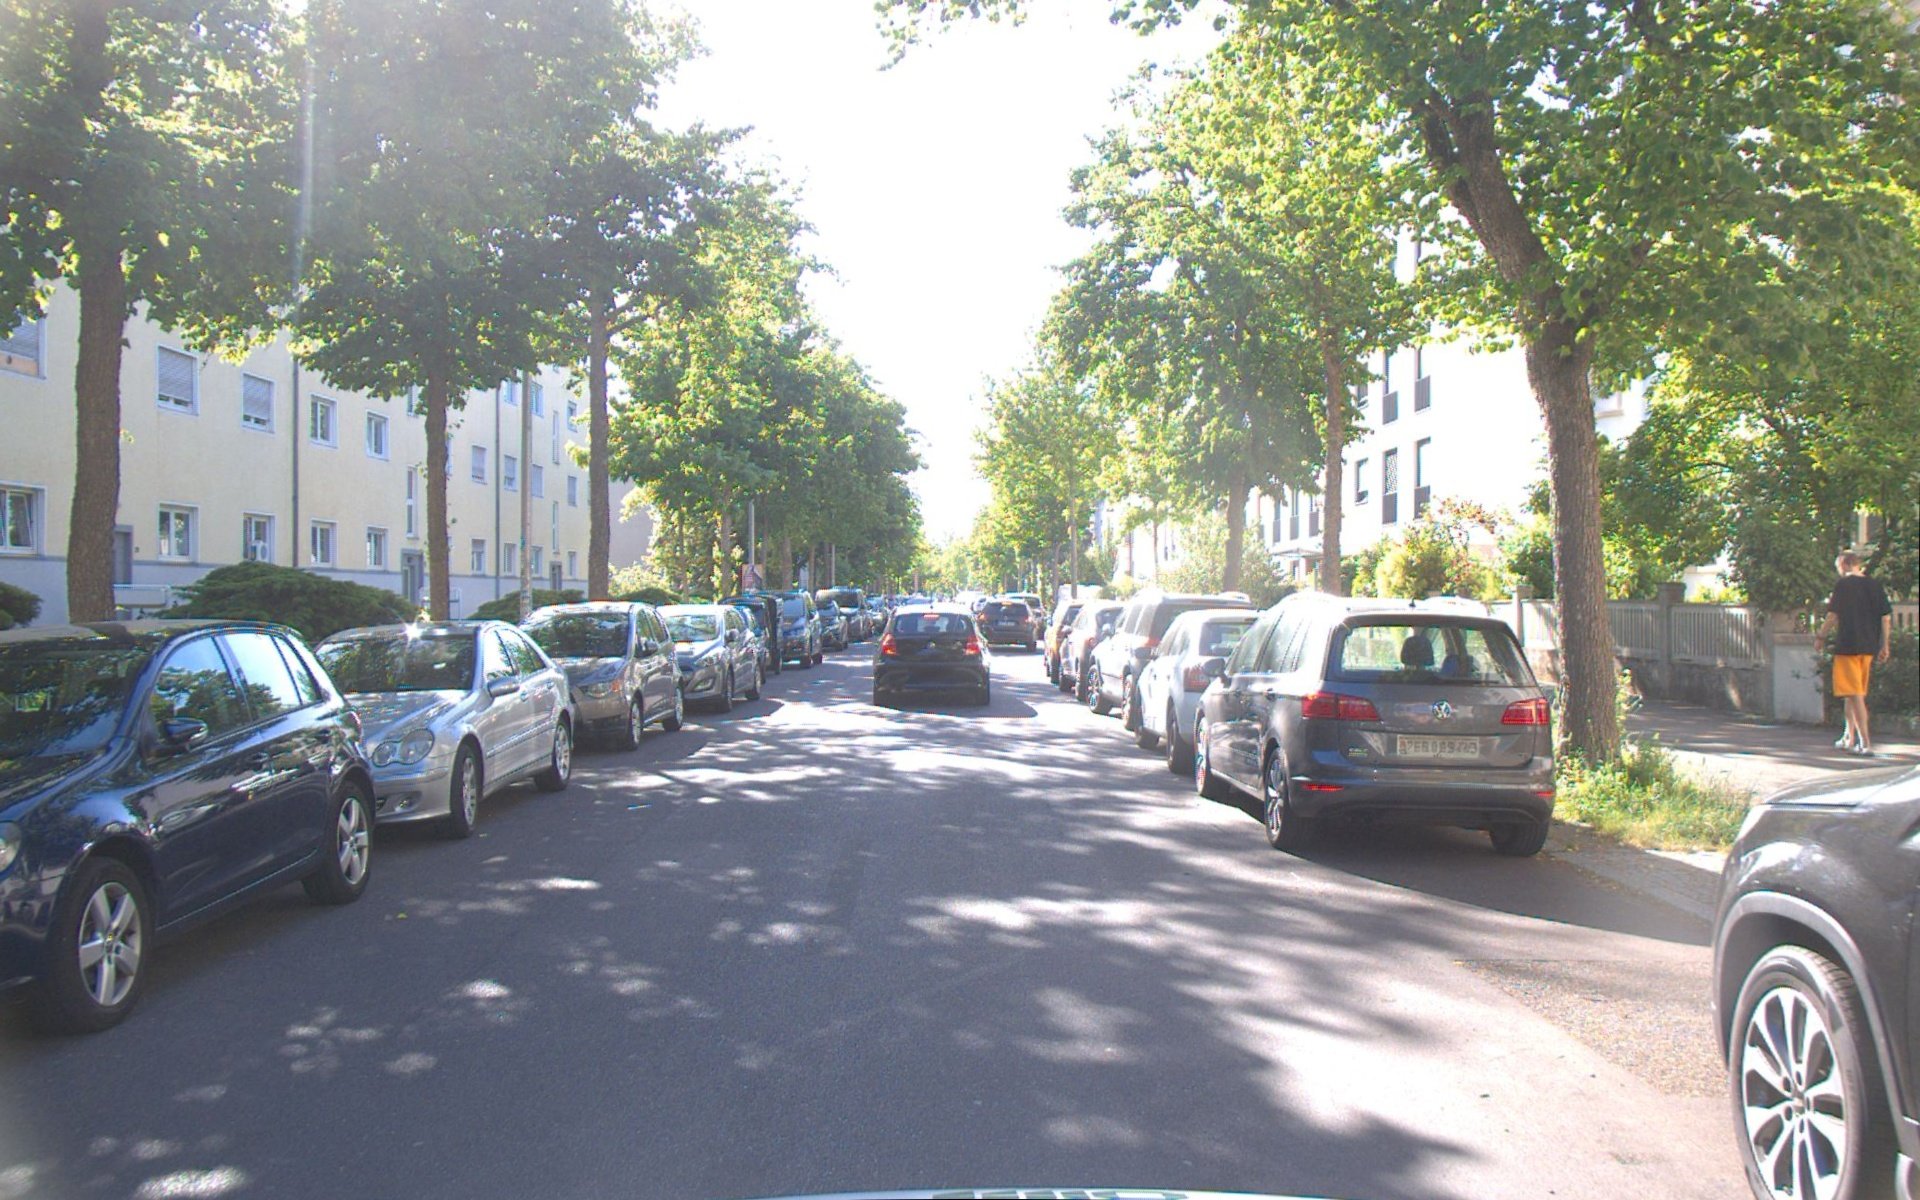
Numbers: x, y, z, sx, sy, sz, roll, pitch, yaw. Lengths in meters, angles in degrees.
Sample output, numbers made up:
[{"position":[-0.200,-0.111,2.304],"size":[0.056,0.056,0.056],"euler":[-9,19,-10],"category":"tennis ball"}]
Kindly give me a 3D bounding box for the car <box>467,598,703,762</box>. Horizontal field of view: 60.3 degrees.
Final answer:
[{"position":[-4.059,0.792,18.571],"size":[1.587,1.542,4.269],"euler":[-3,0,0],"category":"car"}]

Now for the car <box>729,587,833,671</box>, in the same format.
[{"position":[-4.002,0.605,37.687],"size":[1.812,1.710,4.976],"euler":[-3,0,-1],"category":"car"}]

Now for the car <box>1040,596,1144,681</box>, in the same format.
[{"position":[2.437,0.673,31.360],"size":[1.603,1.480,4.099],"euler":[-1,0,-1],"category":"car"}]

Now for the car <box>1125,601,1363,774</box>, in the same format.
[{"position":[2.683,0.758,16.537],"size":[1.596,1.450,4.368],"euler":[-1,0,0],"category":"car"}]

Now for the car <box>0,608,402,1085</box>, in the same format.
[{"position":[-3.896,0.806,7.158],"size":[1.631,1.484,3.932],"euler":[0,0,0],"category":"car"}]

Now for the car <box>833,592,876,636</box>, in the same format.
[{"position":[-4.175,0.545,65.780],"size":[1.580,1.639,4.227],"euler":[-1,0,-3],"category":"car"}]

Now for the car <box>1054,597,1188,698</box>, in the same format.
[{"position":[2.487,0.702,26.298],"size":[1.616,1.453,3.611],"euler":[-1,0,-2],"category":"car"}]

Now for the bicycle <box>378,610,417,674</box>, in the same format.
[{"position":[-10.179,0.746,29.900],"size":[0.479,1.100,1.831],"euler":[2,-1,-24],"category":"bicycle"}]

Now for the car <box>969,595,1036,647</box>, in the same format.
[{"position":[1.212,0.589,48.835],"size":[1.617,1.450,3.998],"euler":[-1,0,-4],"category":"car"}]

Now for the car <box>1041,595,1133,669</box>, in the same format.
[{"position":[2.701,0.652,35.928],"size":[1.665,1.474,4.082],"euler":[-1,0,0],"category":"car"}]

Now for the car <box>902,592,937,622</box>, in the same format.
[{"position":[-2.025,0.352,83.016],"size":[1.474,1.451,3.179],"euler":[0,0,3],"category":"car"}]

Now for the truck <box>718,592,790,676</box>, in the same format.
[{"position":[-4.088,0.650,33.056],"size":[1.061,1.605,2.432],"euler":[-1,0,2],"category":"truck"}]

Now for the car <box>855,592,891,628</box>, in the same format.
[{"position":[-4.285,0.480,81.622],"size":[1.579,1.708,4.233],"euler":[-1,0,-1],"category":"car"}]

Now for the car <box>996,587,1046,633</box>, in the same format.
[{"position":[2.307,0.382,63.308],"size":[1.810,1.659,4.411],"euler":[1,0,1],"category":"car"}]

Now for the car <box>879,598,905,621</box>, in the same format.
[{"position":[-4.459,0.611,108.302],"size":[1.579,1.416,3.865],"euler":[-1,0,-1],"category":"car"}]

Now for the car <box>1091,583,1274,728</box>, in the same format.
[{"position":[2.748,0.641,21.182],"size":[1.616,1.684,3.844],"euler":[0,0,-3],"category":"car"}]

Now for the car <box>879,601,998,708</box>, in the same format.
[{"position":[-0.322,0.755,24.578],"size":[1.616,1.421,3.411],"euler":[-1,0,-1],"category":"car"}]

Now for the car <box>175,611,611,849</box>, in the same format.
[{"position":[-4.024,0.825,12.634],"size":[1.710,1.392,4.674],"euler":[-1,0,0],"category":"car"}]

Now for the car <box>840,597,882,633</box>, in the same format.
[{"position":[-4.237,0.633,71.087],"size":[1.579,1.452,4.057],"euler":[-1,0,-1],"category":"car"}]

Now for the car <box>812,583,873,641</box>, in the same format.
[{"position":[-4.219,0.406,60.072],"size":[1.789,1.938,5.142],"euler":[-2,0,0],"category":"car"}]

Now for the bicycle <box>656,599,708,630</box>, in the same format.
[{"position":[-11.545,0.597,68.644],"size":[2.107,1.230,0.688],"euler":[-1,0,-12],"category":"bicycle"}]

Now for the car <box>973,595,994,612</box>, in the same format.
[{"position":[2.027,0.292,144.640],"size":[1.685,1.506,3.852],"euler":[-1,0,3],"category":"car"}]

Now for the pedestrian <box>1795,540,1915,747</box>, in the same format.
[{"position":[8.062,0.381,14.918],"size":[0.609,1.806,0.799],"euler":[-1,0,-1],"category":"pedestrian"}]

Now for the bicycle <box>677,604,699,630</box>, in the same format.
[{"position":[-10.810,0.680,65.780],"size":[0.582,1.009,1.928],"euler":[-1,0,0],"category":"bicycle"}]

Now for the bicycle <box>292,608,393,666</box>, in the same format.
[{"position":[-12.146,0.722,32.555],"size":[1.803,1.100,0.486],"euler":[-1,0,-4],"category":"bicycle"}]

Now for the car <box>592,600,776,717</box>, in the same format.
[{"position":[-3.905,0.774,24.188],"size":[1.755,1.469,4.689],"euler":[-2,0,1],"category":"car"}]

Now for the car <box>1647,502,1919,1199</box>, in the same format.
[{"position":[2.911,0.650,2.683],"size":[1.744,1.728,4.297],"euler":[-1,0,-1],"category":"car"}]

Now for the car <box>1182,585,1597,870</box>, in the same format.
[{"position":[2.821,0.740,11.943],"size":[1.650,1.615,4.534],"euler":[2,0,-2],"category":"car"}]

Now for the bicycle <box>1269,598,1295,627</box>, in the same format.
[{"position":[12.068,0.472,62.041],"size":[0.535,1.073,1.779],"euler":[-1,0,-3],"category":"bicycle"}]

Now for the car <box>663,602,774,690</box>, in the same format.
[{"position":[-4.171,0.751,29.029],"size":[1.490,1.419,3.725],"euler":[-1,0,-2],"category":"car"}]

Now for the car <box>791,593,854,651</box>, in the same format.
[{"position":[-4.088,0.631,49.643],"size":[1.477,1.575,4.777],"euler":[-3,0,-1],"category":"car"}]
